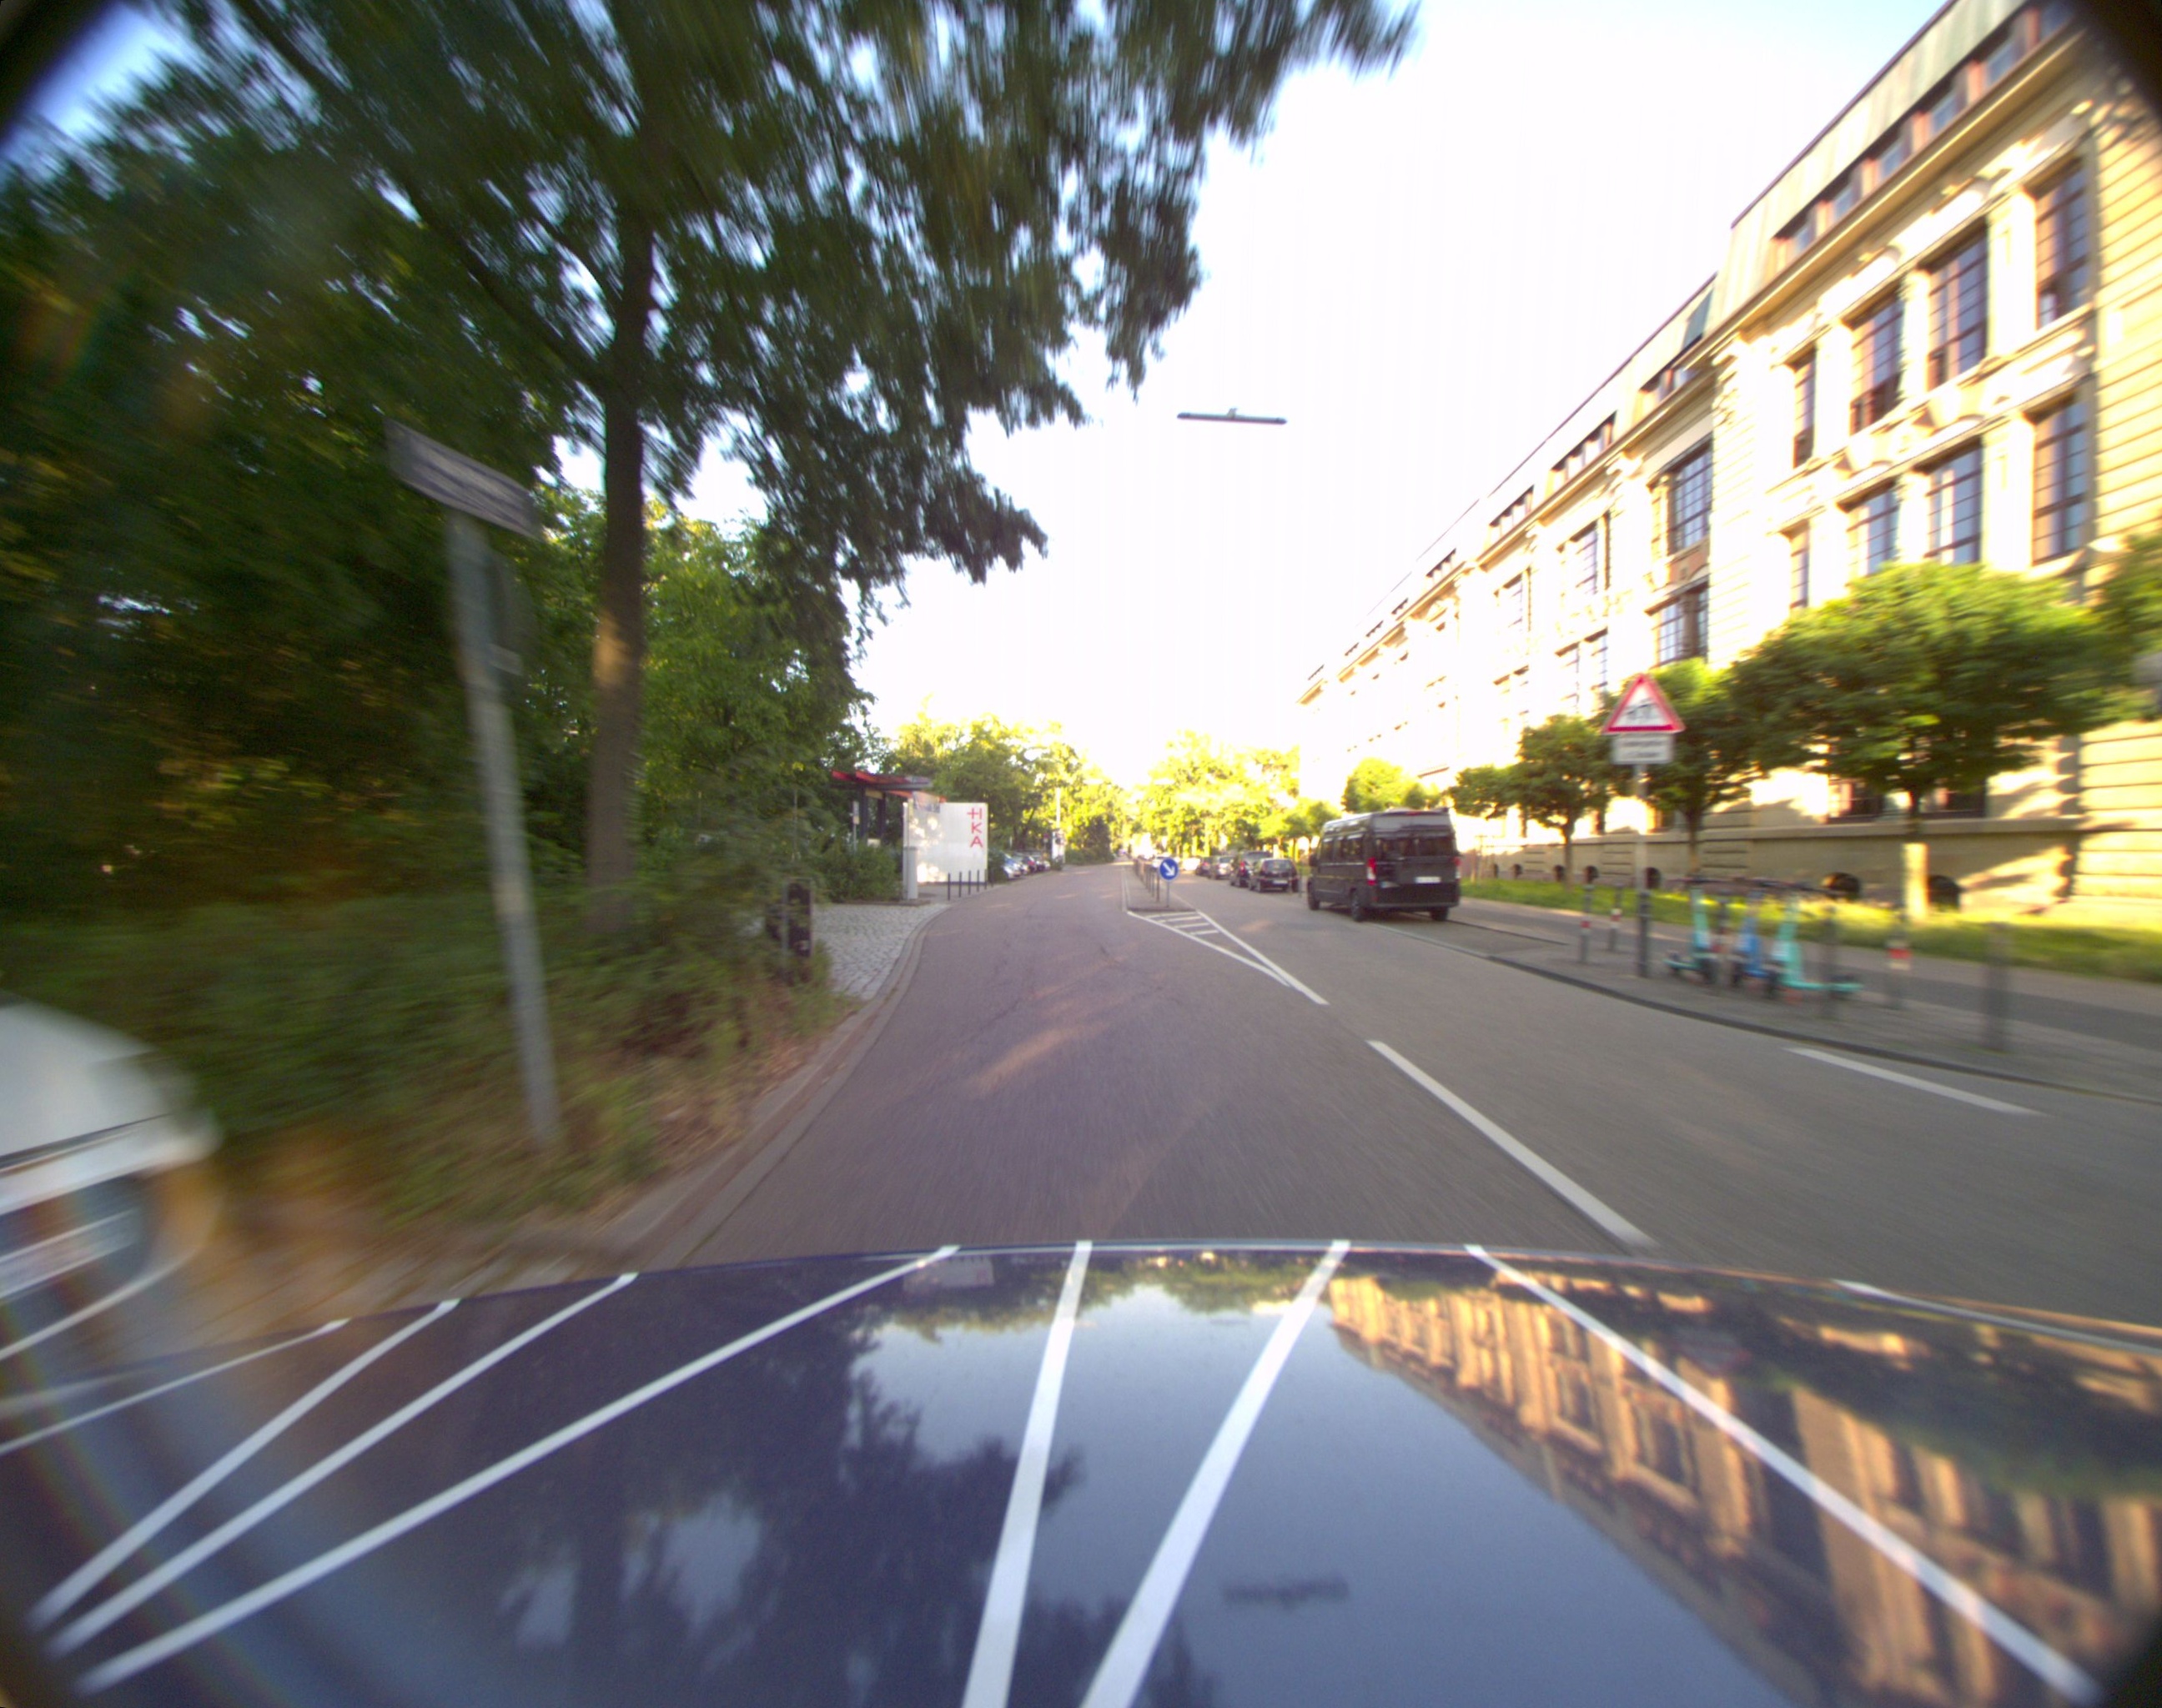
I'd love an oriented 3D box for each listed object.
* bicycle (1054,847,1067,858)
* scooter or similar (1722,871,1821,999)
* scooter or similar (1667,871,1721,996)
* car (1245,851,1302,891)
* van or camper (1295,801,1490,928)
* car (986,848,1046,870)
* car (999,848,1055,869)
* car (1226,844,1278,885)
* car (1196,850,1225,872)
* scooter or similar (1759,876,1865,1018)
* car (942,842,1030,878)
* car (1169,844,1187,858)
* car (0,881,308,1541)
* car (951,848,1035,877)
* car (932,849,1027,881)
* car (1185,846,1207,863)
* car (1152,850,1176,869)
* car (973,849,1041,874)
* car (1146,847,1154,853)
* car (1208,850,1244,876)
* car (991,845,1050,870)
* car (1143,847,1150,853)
[{"bbox_3d":[-2.185,-0.142,81.316,0.492,1.141,2.289,4,1,23],"label":"bicycle"},{"bbox_3d":[7.553,0.843,8.305,1.346,1.267,0.431,-1,2,-32],"label":"scooter or similar"},{"bbox_3d":[7.011,0.858,8.703,0.430,1.267,1.347,1,2,38],"label":"scooter or similar"},{"bbox_3d":[8.127,0.674,32.359,1.700,1.462,3.855,-2,1,5],"label":"car"},{"bbox_3d":[7.335,0.154,19.012,2.235,2.530,7.079,-1,1,2],"label":"van or camper"},{"bbox_3d":[-4.929,0.363,58.048,4.373,1.545,1.876,2,1,2],"label":"car"},{"bbox_3d":[-4.460,0.334,63.101,4.373,1.545,1.727,2,1,2],"label":"car"},{"bbox_3d":[8.487,0.459,37.972,1.781,1.855,4.333,-2,1,3],"label":"car"},{"bbox_3d":[9.448,0.482,55.632,1.621,1.487,4.377,0,1,3],"label":"car"},{"bbox_3d":[7.354,0.887,7.628,1.346,1.267,0.431,-1,2,-32],"label":"scooter or similar"},{"bbox_3d":[-5.573,0.332,45.104,4.863,1.905,1.916,2,1,2],"label":"car"},{"bbox_3d":[11.284,-0.366,88.989,1.806,1.502,4.863,-1,1,4],"label":"car"},{"bbox_3d":[-4.578,0.845,1.723,3.996,1.545,1.726,1,0,3],"label":"car"},{"bbox_3d":[-5.456,0.504,47.572,4.938,1.545,1.916,2,1,2],"label":"car"},{"bbox_3d":[-5.628,0.577,42.435,4.938,1.545,1.916,2,1,2],"label":"car"},{"bbox_3d":[10.326,0.022,68.359,1.621,1.487,3.924,0,1,3],"label":"car"},{"bbox_3d":[7.073,0.442,64.982,1.745,1.450,4.624,1,1,2],"label":"car"},{"bbox_3d":[-5.033,0.489,52.220,4.373,1.528,1.921,2,1,2],"label":"car"},{"bbox_3d":[16.702,-0.944,185.073,1.775,1.474,4.109,-1,1,3],"label":"car"},{"bbox_3d":[9.248,0.539,48.726,1.722,1.487,4.378,0,1,4],"label":"car"},{"bbox_3d":[-4.815,0.246,60.865,4.373,1.770,1.921,2,1,2],"label":"car"},{"bbox_3d":[18.449,-1.169,214.816,1.775,1.559,4.109,-1,1,3],"label":"car"}]
